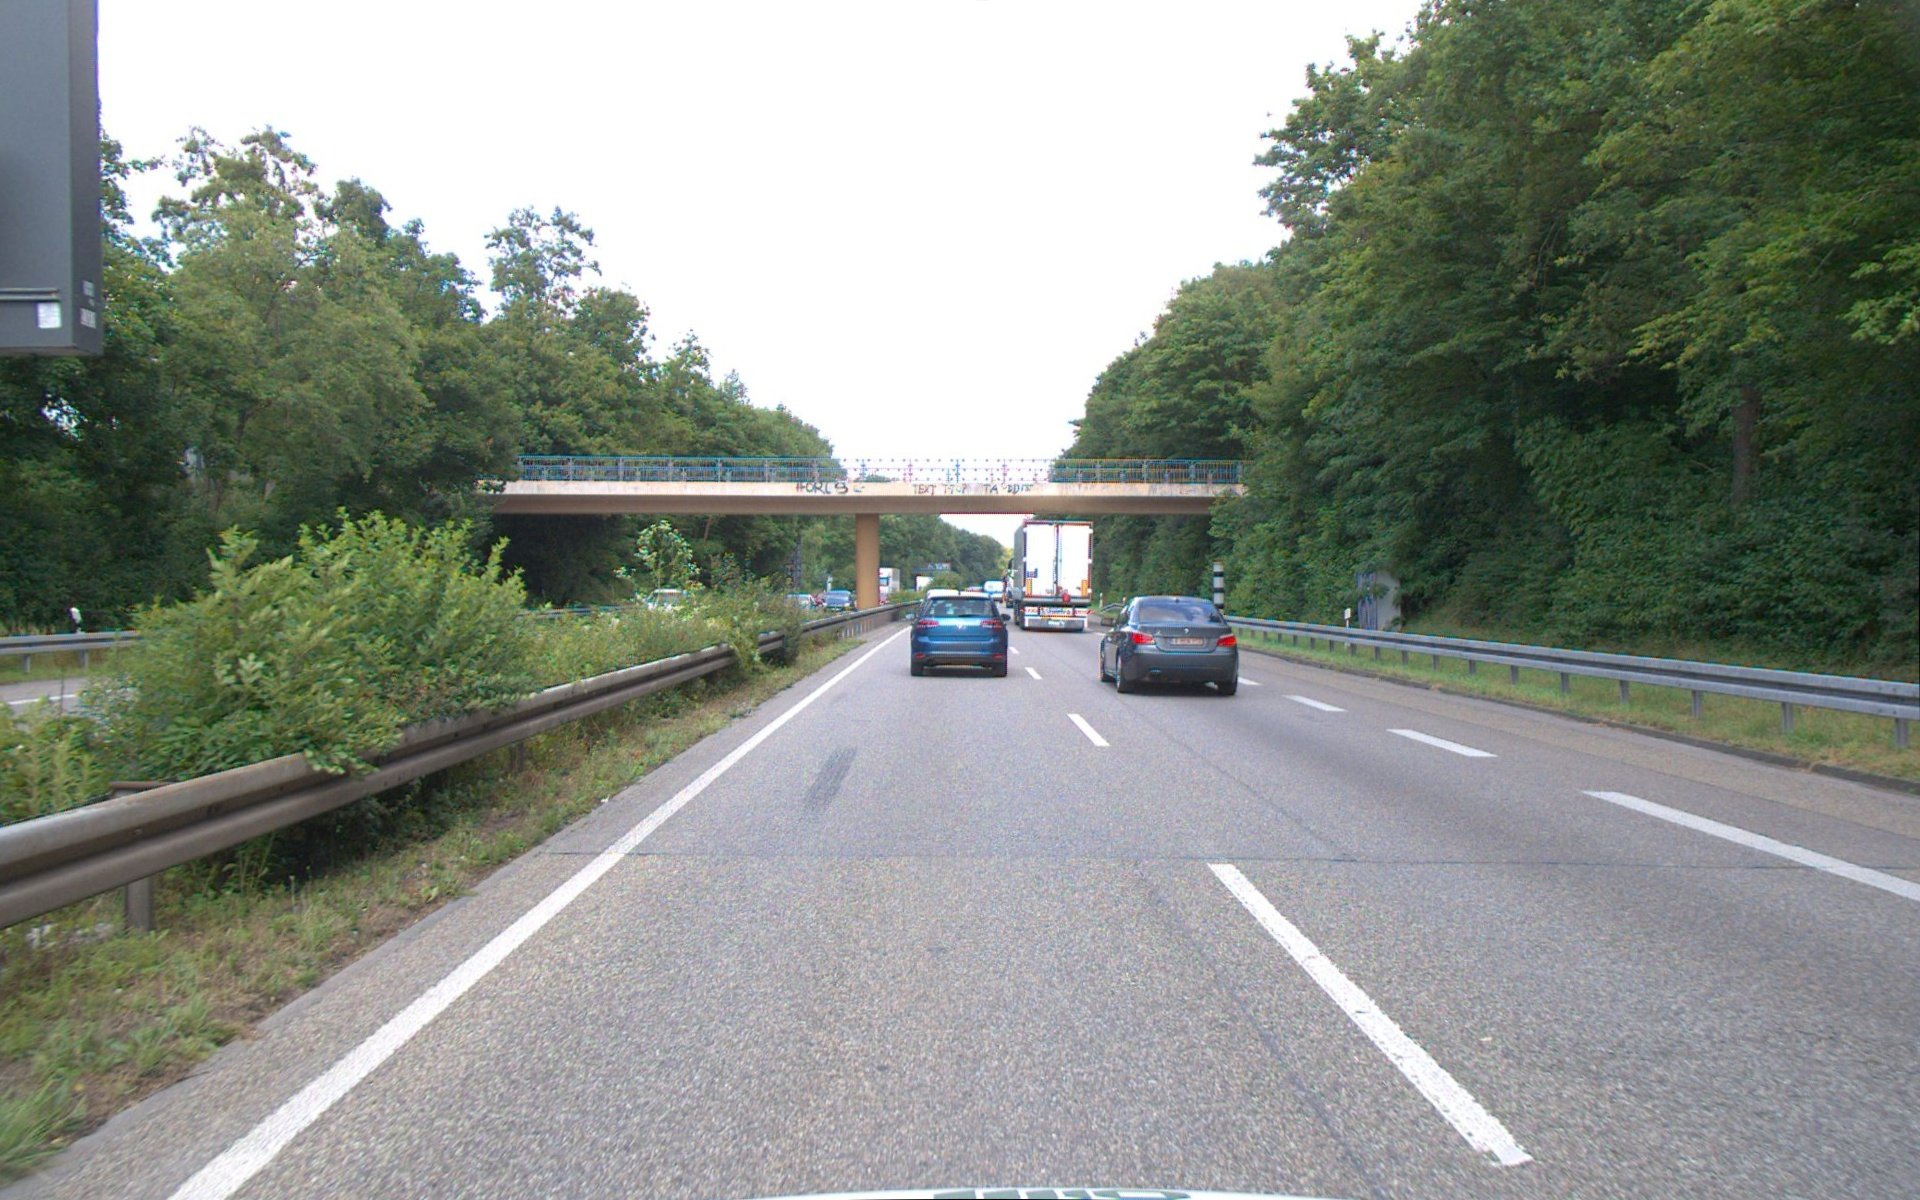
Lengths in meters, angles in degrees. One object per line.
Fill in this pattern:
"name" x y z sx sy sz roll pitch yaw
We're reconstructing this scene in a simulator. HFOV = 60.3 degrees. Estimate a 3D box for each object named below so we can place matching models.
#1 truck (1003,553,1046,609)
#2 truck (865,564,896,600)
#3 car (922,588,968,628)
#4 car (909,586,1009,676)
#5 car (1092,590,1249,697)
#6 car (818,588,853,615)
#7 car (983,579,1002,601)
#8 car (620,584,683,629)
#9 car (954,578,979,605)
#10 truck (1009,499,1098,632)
"truck" 5.339 -1.498 139.485 3.166 4.463 12.970 1 0 0
"truck" -9.190 -2.062 191.789 2.977 4.056 6.750 0 0 2
"car" -0.571 0.293 65.007 1.631 1.526 4.153 1 0 2
"car" 0.019 0.519 30.106 1.670 1.495 4.001 1 0 1
"car" 3.220 0.612 26.248 1.738 1.501 4.879 1 0 -1
"car" -7.624 0.050 101.916 1.827 1.617 4.565 0 0 0
"car" 3.465 -1.095 177.450 1.953 2.294 4.441 0 0 -1
"car" -12.646 0.242 68.034 1.749 1.769 4.880 0 0 -1
"car" 0.537 -0.690 130.378 1.914 2.049 4.000 0 0 1
"truck" 3.547 -1.278 65.189 3.175 4.798 11.009 0 0 2
